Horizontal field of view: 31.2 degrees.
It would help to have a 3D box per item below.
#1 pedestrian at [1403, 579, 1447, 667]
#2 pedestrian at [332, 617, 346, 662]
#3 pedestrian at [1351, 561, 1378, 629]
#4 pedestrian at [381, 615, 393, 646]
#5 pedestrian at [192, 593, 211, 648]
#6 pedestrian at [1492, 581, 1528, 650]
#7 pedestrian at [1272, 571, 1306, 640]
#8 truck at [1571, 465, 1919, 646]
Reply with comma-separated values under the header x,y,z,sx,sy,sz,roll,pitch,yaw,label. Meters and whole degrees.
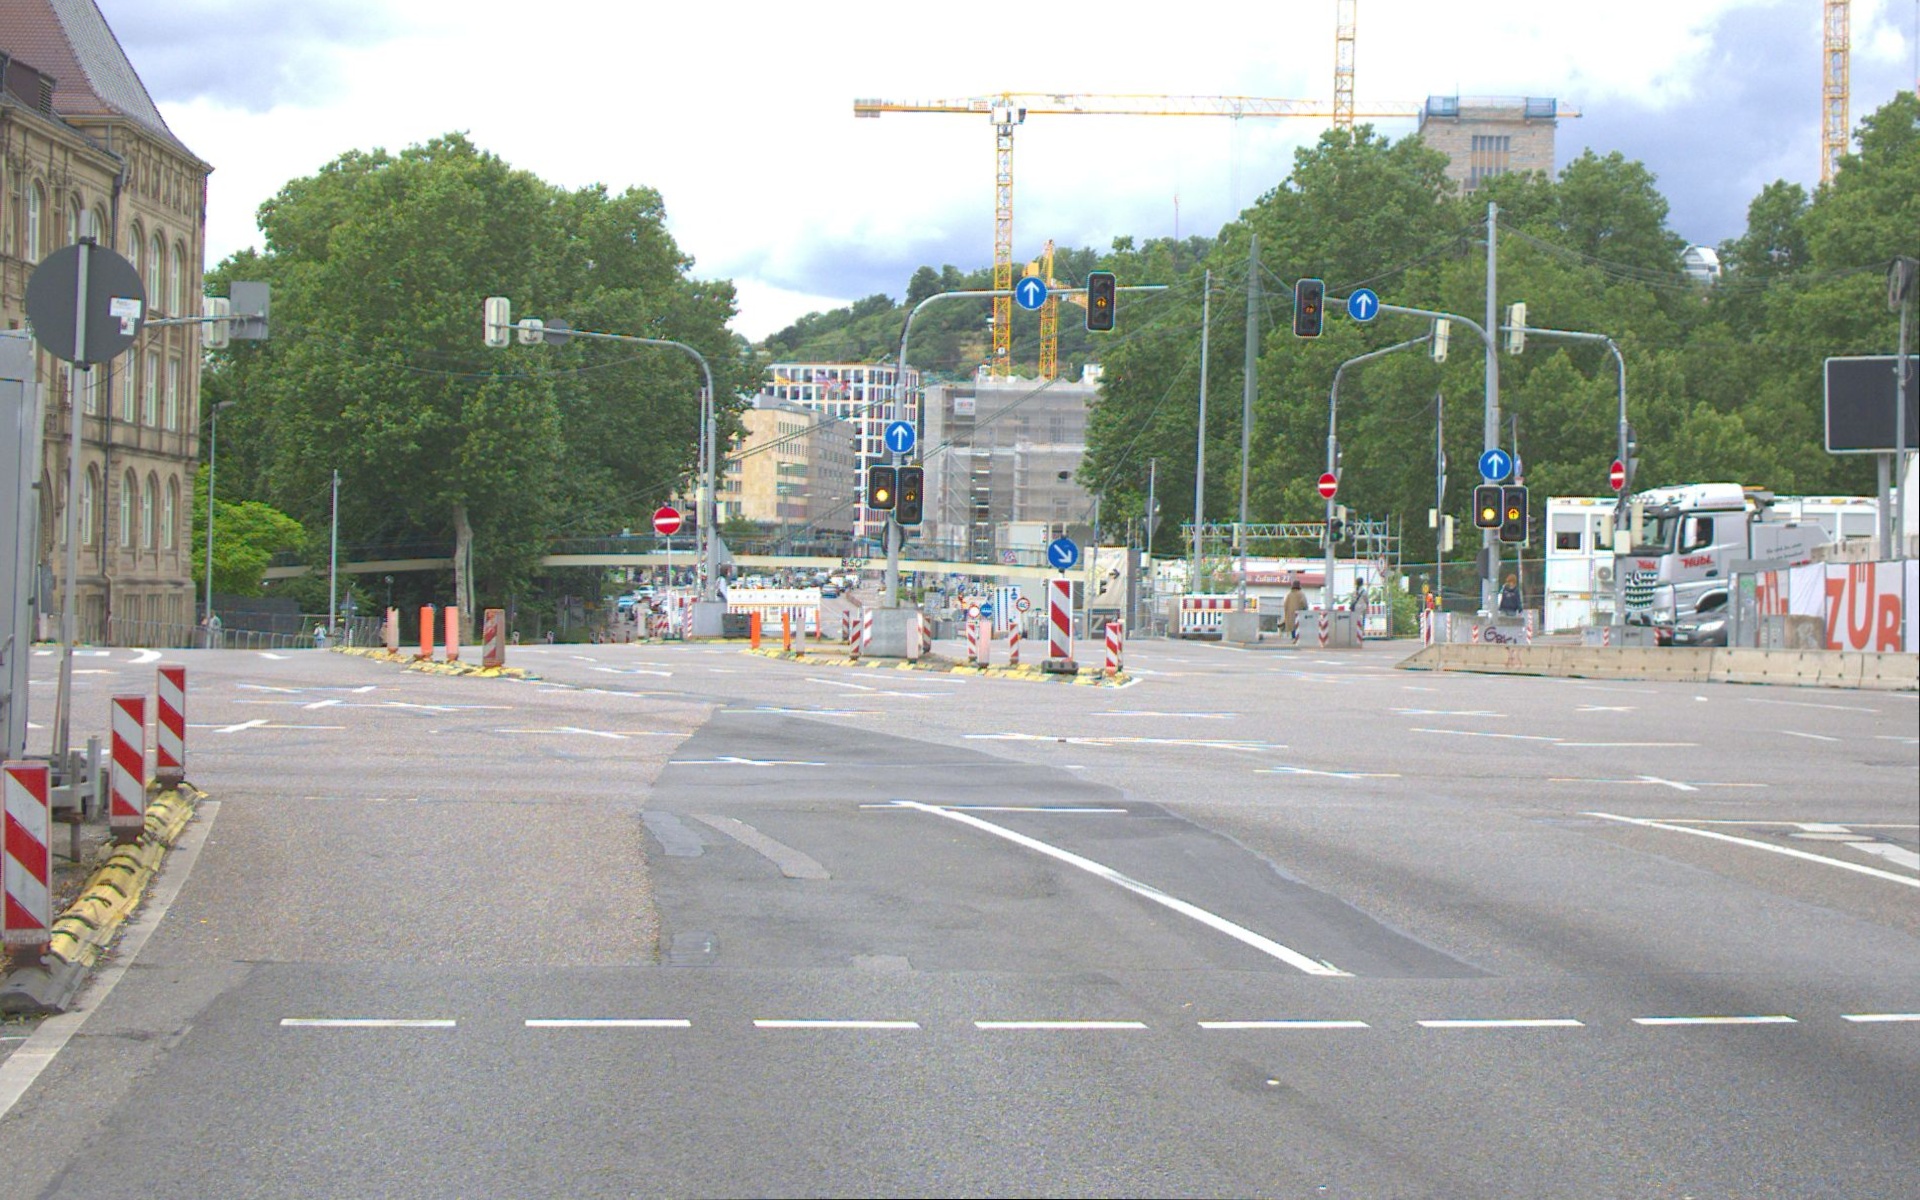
x,y,z,sx,sy,sz,roll,pitch,yaw,label
9.133,0.450,67.561,0.729,1.683,0.678,1,1,-1,pedestrian
-28.000,1.789,154.985,0.524,2.007,0.567,1,1,0,pedestrian
10.164,-0.131,86.369,0.566,1.683,0.472,1,1,-1,pedestrian
-29.972,1.598,179.913,0.536,1.587,0.516,1,1,-4,pedestrian
-27.840,0.763,126.210,0.524,2.007,0.567,1,1,0,pedestrian
13.711,0.388,85.685,0.622,1.683,0.710,2,1,29,pedestrian
8.164,0.140,85.259,0.729,1.683,0.678,1,1,-1,pedestrian
21.360,-1.000,82.008,13.022,4.027,3.952,1,1,-20,truck
